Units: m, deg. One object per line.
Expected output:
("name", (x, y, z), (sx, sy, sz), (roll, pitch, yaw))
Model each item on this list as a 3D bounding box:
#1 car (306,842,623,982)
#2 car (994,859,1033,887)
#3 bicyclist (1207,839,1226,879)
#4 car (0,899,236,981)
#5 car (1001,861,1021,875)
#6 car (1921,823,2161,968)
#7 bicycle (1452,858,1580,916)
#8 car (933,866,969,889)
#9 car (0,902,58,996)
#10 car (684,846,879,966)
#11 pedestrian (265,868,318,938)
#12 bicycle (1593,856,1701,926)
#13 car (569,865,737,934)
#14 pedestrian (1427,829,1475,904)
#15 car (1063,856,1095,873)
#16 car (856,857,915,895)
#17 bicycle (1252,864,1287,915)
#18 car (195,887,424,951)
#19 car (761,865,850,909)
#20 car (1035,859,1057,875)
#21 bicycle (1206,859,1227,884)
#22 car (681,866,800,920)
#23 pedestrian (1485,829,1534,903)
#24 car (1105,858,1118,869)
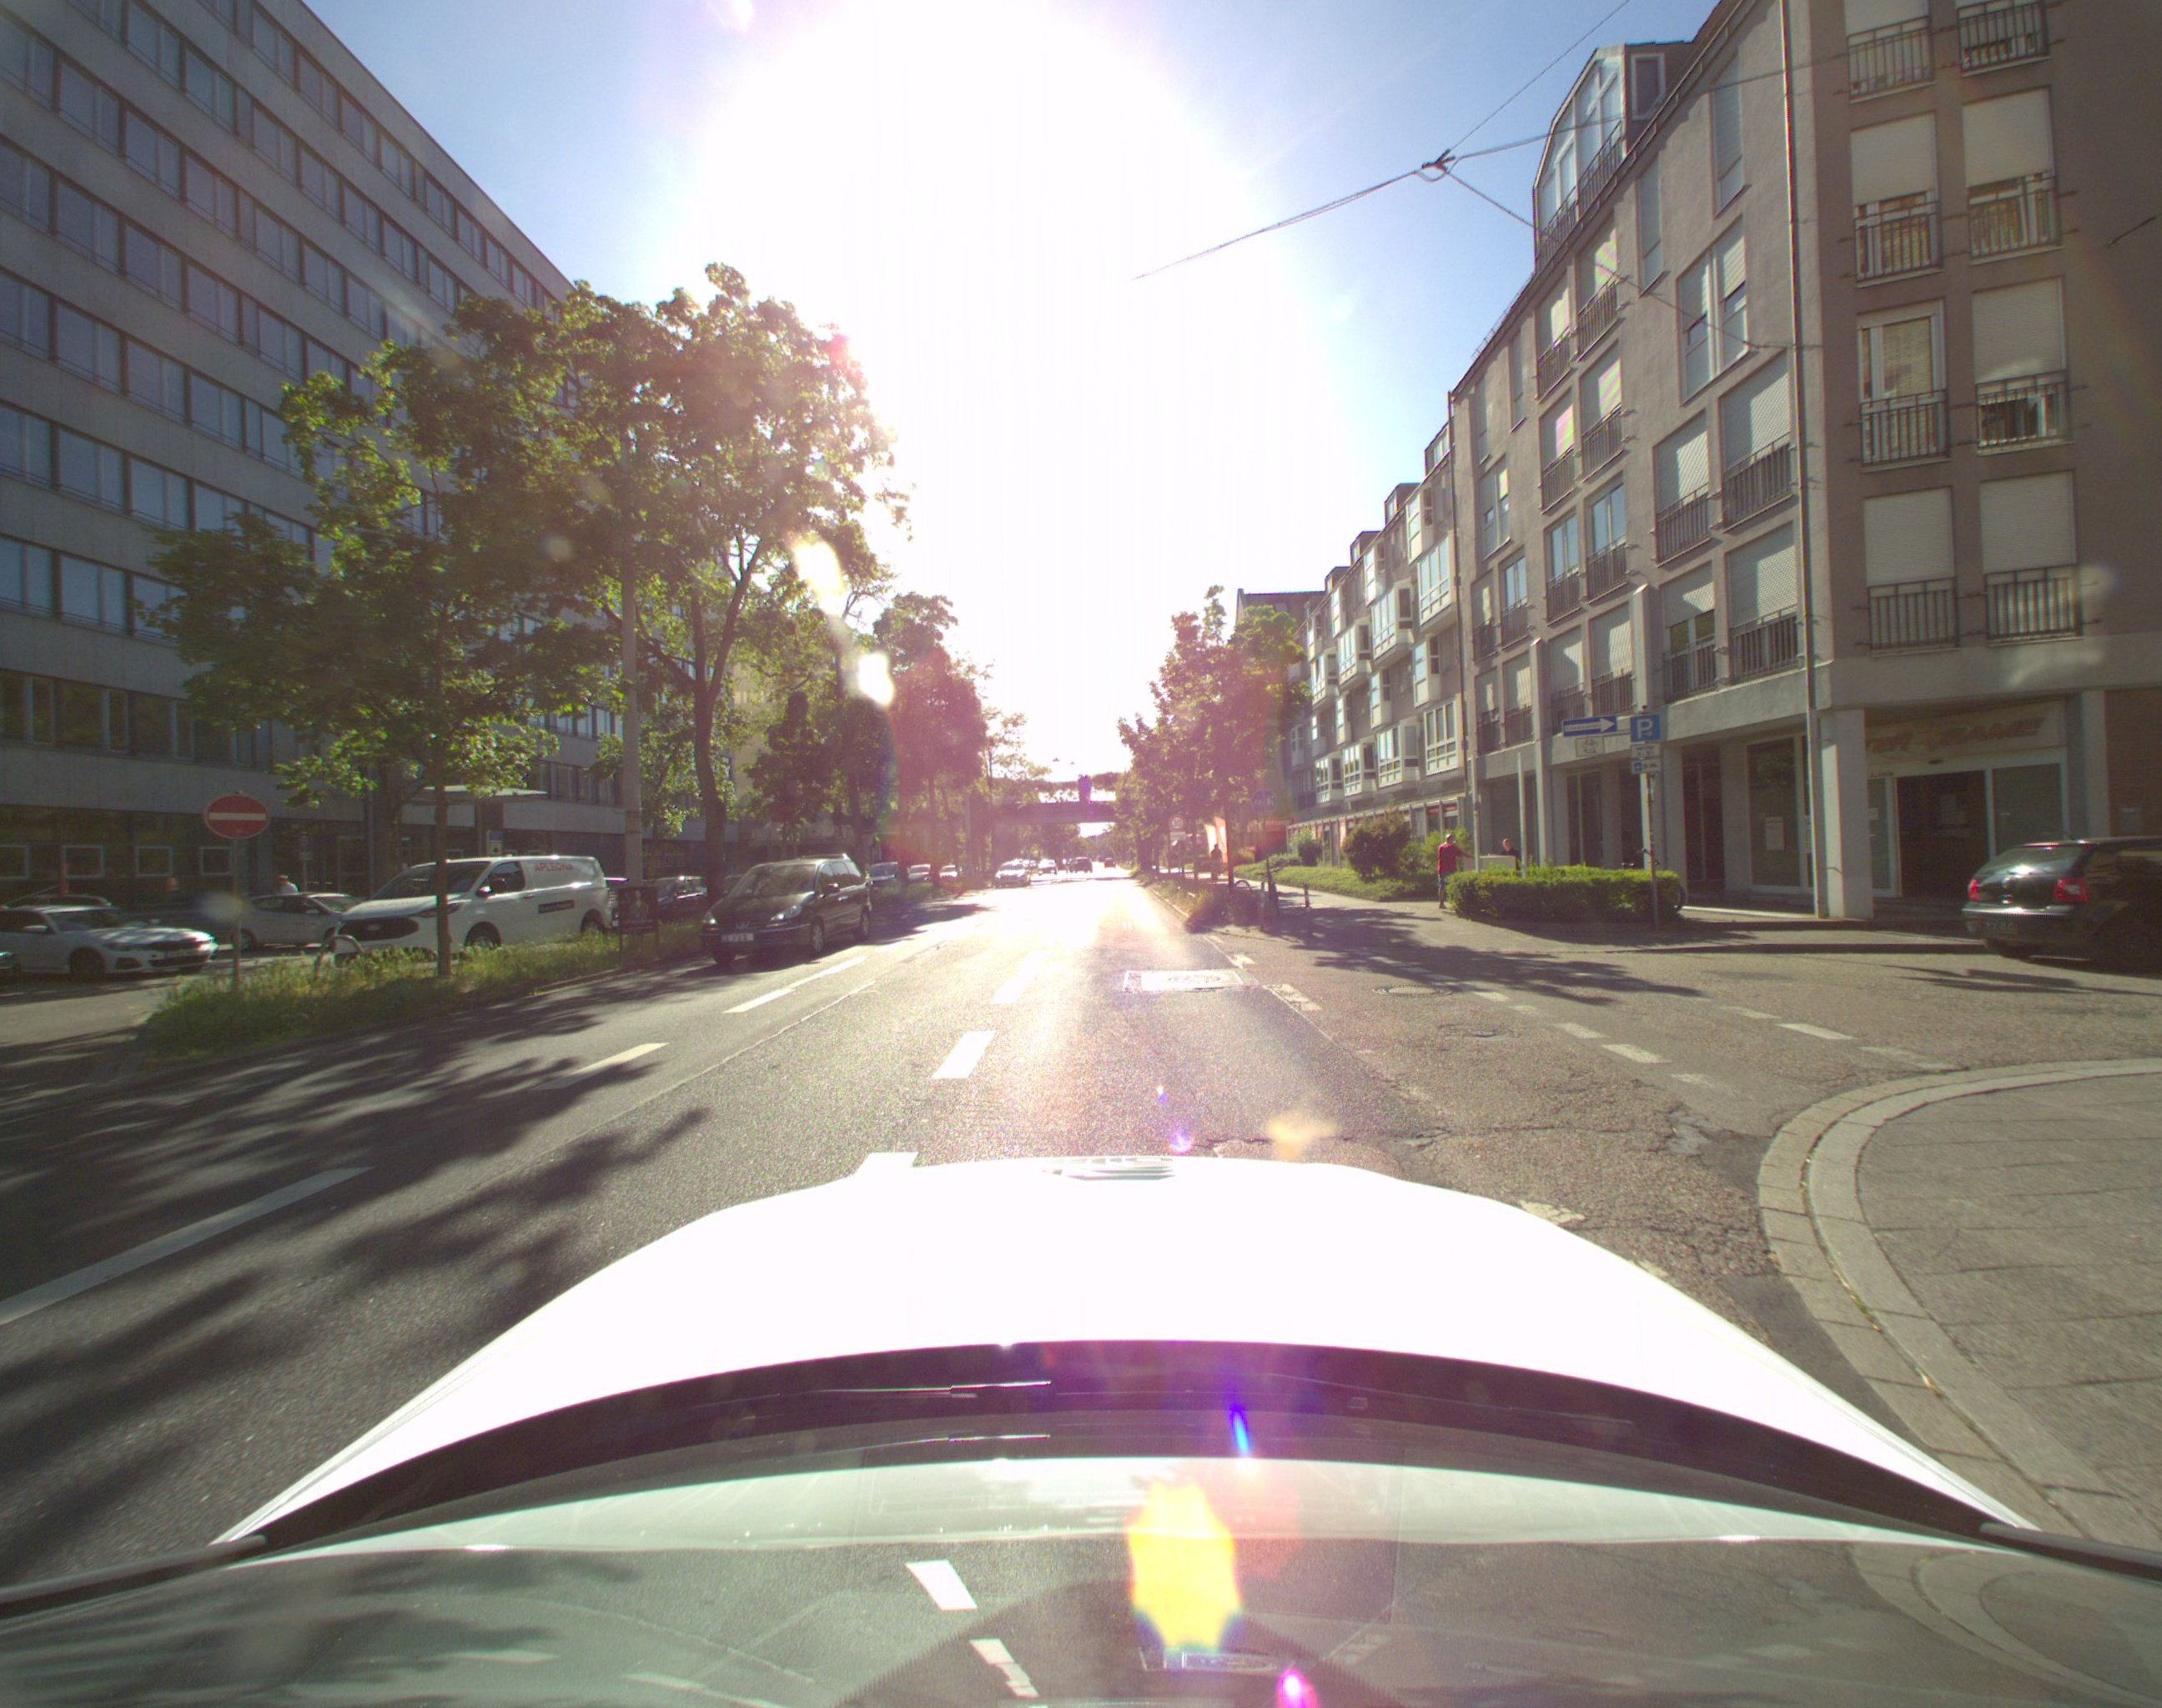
("car", (-11.149, 0.936, 15.406), (1.975, 2.076, 5.194), (-4, -1, -1))
("car", (-4.086, 1.128, 49.839), (1.849, 1.568, 4.716), (-3, -1, 1))
("bicyclist", (5.838, 0.236, 35.130), (0.665, 1.695, 0.889), (-1, -1, 1))
("car", (-20.304, 1.700, 16.528), (4.589, 1.442, 1.941), (-1, -1, 6))
("car", (-7.983, 1.538, 92.956), (1.849, 1.523, 4.077), (-1, 0, 1))
("car", (12.608, 0.416, 9.200), (3.915, 1.523, 1.869), (-1, -1, 15))
("bicycle", (8.869, 0.661, 16.660), (2.186, 1.027, 0.688), (-3, 1, 3))
("car", (-9.481, 1.693, 59.785), (1.849, 1.523, 4.319), (-1, 0, 1))
("car", (-20.200, 1.637, 13.368), (4.646, 1.513, 2.012), (-1, 0, 6))
("car", (-5.395, 0.858, 15.425), (1.849, 1.825, 4.610), (-3, -1, 1))
("pedestrian", (-24.235, 1.492, 25.016), (0.768, 2.093, 0.792), (0, -2, 3))
("bicycle", (9.996, 0.613, 14.485), (0.681, 1.027, 2.209), (-3, 2, 10))
("car", (-10.720, 1.076, 20.794), (1.774, 1.523, 4.322), (-1, 0, 3))
("pedestrian", (8.299, 0.274, 18.277), (0.652, 1.604, 0.602), (-5, -1, -4))
("car", (-0.241, 1.031, 81.778), (1.990, 1.600, 4.115), (-1, 0, -18))
("car", (-10.062, 1.116, 42.283), (1.849, 1.850, 4.562), (-1, 0, 1))
("bicycle", (4.357, 0.796, 18.755), (0.586, 1.066, 2.032), (-2, 0, 18))
("car", (-20.603, 1.708, 21.897), (4.292, 1.523, 1.861), (-1, -1, -1))
("car", (-10.480, 1.208, 31.295), (1.848, 1.523, 4.066), (-1, 0, 3))
("car", (-3.353, 1.233, 79.087), (1.849, 1.440, 4.319), (-3, 0, 1))
("bicycle", (5.834, 0.772, 35.141), (0.587, 1.027, 1.860), (-2, -1, 1))
("car", (-10.681, 1.161, 25.934), (1.849, 1.523, 4.320), (-1, 0, 1))
("pedestrian", (9.743, 0.282, 18.536), (0.652, 1.604, 0.602), (-5, -1, -4))
("car", (4.497, 1.407, 120.347), (1.848, 1.523, 4.322), (-1, 0, 3))
